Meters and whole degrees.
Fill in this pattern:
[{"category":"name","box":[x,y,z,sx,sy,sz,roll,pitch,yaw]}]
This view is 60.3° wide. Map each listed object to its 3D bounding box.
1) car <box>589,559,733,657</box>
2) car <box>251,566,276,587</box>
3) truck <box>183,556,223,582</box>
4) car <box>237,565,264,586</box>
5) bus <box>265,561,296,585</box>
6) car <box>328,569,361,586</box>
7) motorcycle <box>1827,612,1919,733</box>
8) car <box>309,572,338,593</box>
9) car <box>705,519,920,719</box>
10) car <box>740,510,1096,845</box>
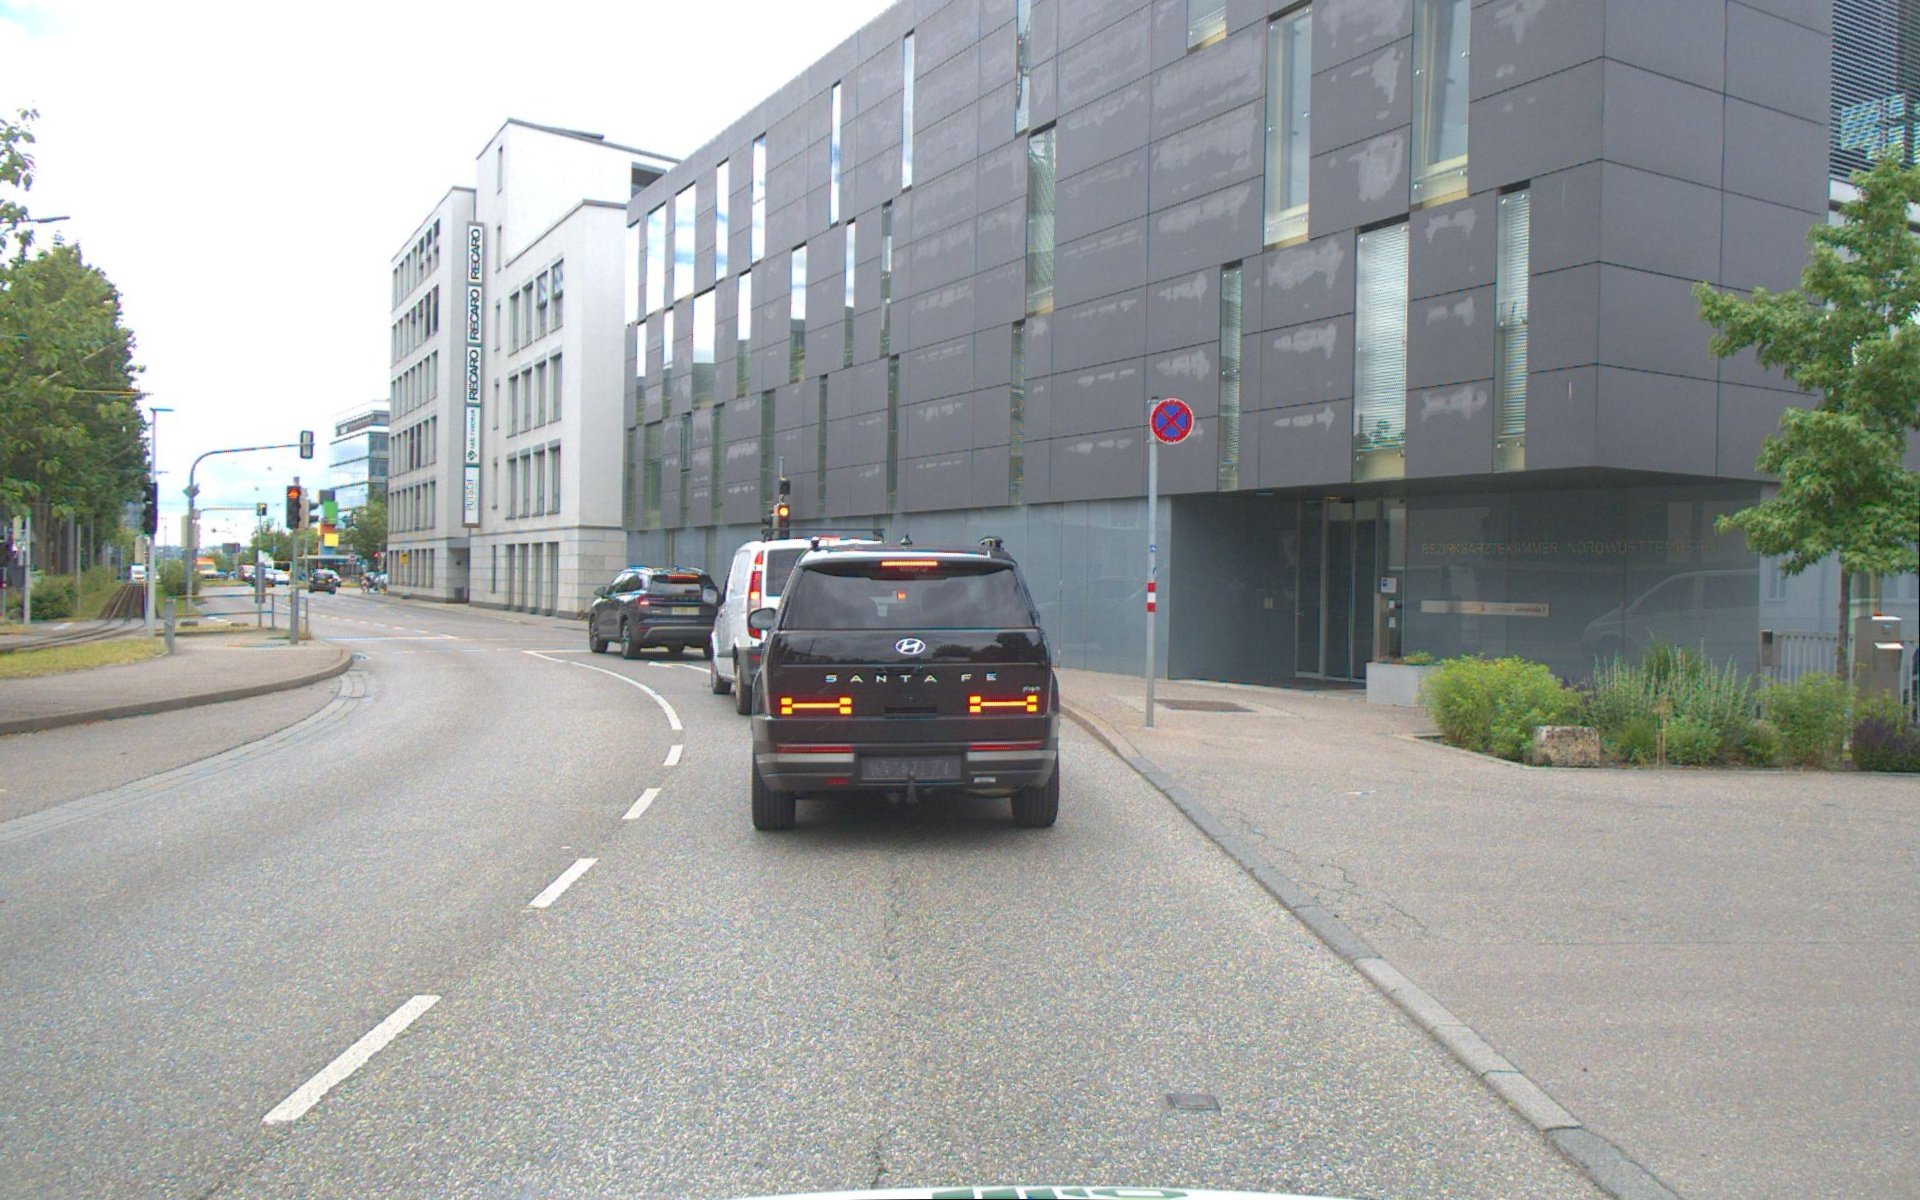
[{"category":"car","box":[-5.751,0.125,31.407,1.822,1.706,4.345,0,0,-22]},{"category":"car","box":[-59.505,-2.016,141.286,1.825,1.725,3.975,1,1,-21]},{"category":"truck","box":[-84.461,-3.461,184.435,2.555,2.874,6.896,0,1,-37]},{"category":"car","box":[-67.412,-2.319,157.097,1.833,1.956,3.958,1,1,-31]},{"category":"bus","box":[-92.207,-3.698,224.334,3.045,2.979,10.255,2,1,-26]},{"category":"car","box":[-59.530,-2.194,159.871,1.839,1.657,3.945,1,1,-39]},{"category":"motorcycle","box":[10.913,0.808,17.947,0.836,1.282,2.670,1,1,-27]},{"category":"car","box":[-47.257,-1.279,122.814,1.871,1.512,3.978,1,1,-19]},{"category":"car","box":[-1.861,0.161,19.523,1.824,2.069,4.420,1,1,-15]},{"category":"car","box":[-0.377,0.405,11.125,1.878,1.755,4.167,3,1,-4]}]
